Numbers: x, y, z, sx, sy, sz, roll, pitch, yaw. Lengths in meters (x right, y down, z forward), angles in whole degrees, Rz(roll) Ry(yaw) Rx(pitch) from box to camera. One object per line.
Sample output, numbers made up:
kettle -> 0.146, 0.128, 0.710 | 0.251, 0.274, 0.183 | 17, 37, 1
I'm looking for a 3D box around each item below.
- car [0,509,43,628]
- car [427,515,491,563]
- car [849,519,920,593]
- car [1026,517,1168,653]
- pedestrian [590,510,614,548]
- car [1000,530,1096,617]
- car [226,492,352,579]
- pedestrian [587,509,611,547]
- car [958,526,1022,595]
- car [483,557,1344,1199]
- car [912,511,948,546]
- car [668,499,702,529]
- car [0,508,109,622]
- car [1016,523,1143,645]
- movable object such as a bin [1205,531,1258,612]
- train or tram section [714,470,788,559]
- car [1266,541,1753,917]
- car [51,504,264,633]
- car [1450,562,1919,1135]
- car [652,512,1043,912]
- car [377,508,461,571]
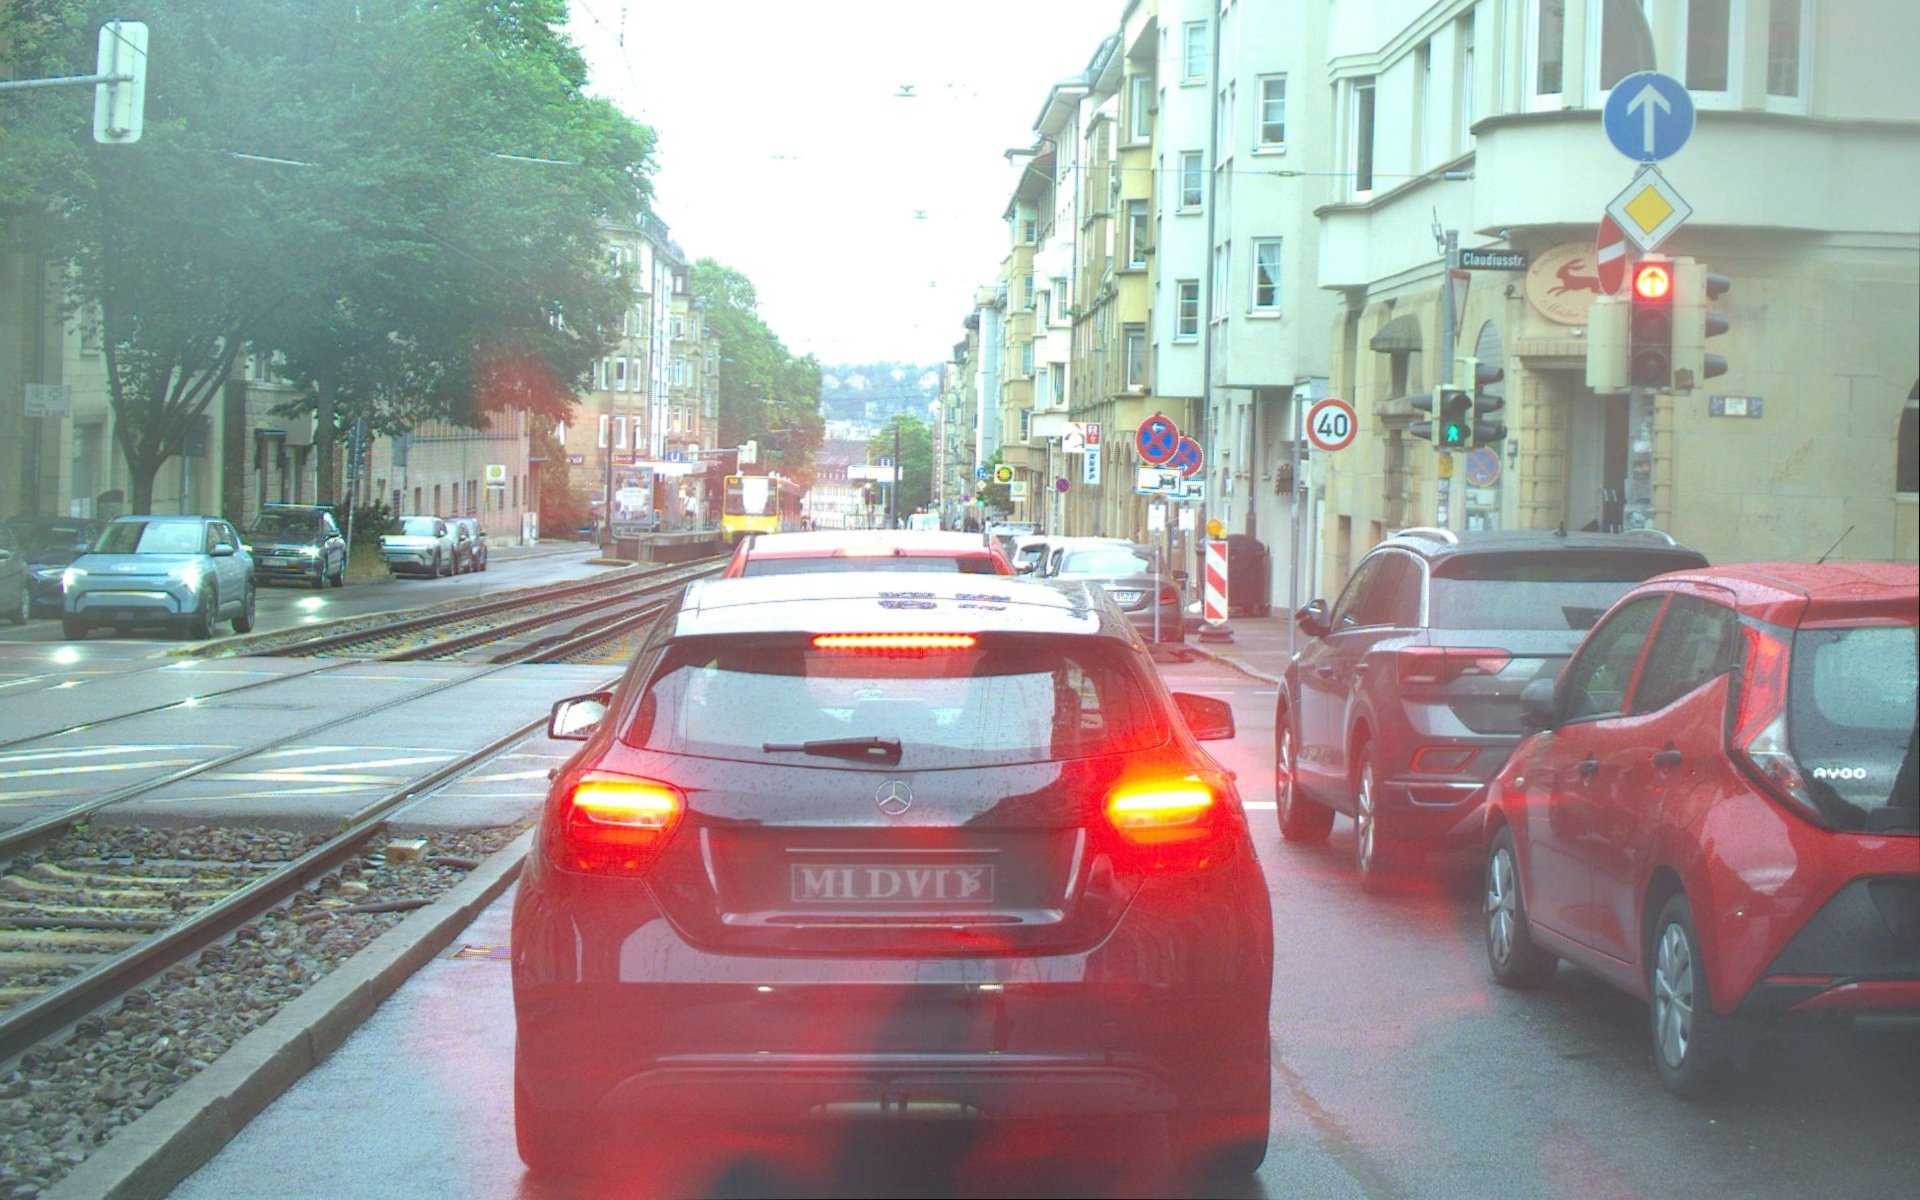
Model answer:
car -> -13.487, -0.431, 45.692 | 1.752, 1.547, 4.036 | 1, 0, -4
car -> -14.346, -1.728, 98.574 | 1.448, 1.326, 3.272 | 1, 0, -2
car -> -1.732, -1.030, 79.860 | 1.544, 1.630, 3.686 | 1, 1, 0
car -> 1.664, -0.207, 42.641 | 1.544, 1.585, 3.548 | 1, 1, -1
pedestrian -> -19.065, -3.779, 183.063 | 1.053, 1.951, 1.043 | 2, 1, 1
car -> 1.549, -0.497, 61.526 | 1.544, 1.481, 3.548 | 1, 1, -1
car -> -13.963, -1.325, 71.701 | 1.875, 1.731, 3.918 | 1, 0, -1
pedestrian -> -19.089, -3.821, 181.770 | 1.053, 1.951, 1.043 | 2, 1, 1
car -> 0.628, -0.854, 73.595 | 1.294, 1.437, 2.929 | 1, 1, -1
car -> -0.127, 0.639, 9.458 | 1.829, 1.453, 4.104 | 1, 1, -1
car -> -1.668, -3.976, 191.007 | 1.993, 1.870, 4.000 | 1, 0, -1
car -> -12.221, -3.813, 152.902 | 1.377, 1.245, 3.298 | 1, 0, -2
car -> -13.740, -0.519, 50.723 | 1.716, 1.605, 3.919 | 1, 0, -5
car -> 1.608, -0.244, 47.116 | 1.544, 1.585, 3.548 | 1, 1, -1
movable object such as a bin -> 4.707, -0.500, 59.573 | 0.878, 1.384, 0.982 | 1, 0, 3
train or tram section -> -9.462, -3.841, 156.626 | 2.783, 3.847, 10.430 | 1, 0, -1
car -> 2.384, 0.490, 15.764 | 1.544, 1.481, 3.830 | 1, 1, -1
car -> -10.462, -0.413, 45.079 | 1.898, 1.582, 3.973 | 1, 0, -1
car -> 2.648, 0.633, 10.526 | 1.642, 1.443, 3.299 | 1, 1, -3
car -> -0.481, 0.437, 15.845 | 1.565, 1.604, 3.814 | 1, 0, -1
car -> -14.002, -1.542, 89.165 | 1.589, 1.575, 3.918 | 1, 0, -1
